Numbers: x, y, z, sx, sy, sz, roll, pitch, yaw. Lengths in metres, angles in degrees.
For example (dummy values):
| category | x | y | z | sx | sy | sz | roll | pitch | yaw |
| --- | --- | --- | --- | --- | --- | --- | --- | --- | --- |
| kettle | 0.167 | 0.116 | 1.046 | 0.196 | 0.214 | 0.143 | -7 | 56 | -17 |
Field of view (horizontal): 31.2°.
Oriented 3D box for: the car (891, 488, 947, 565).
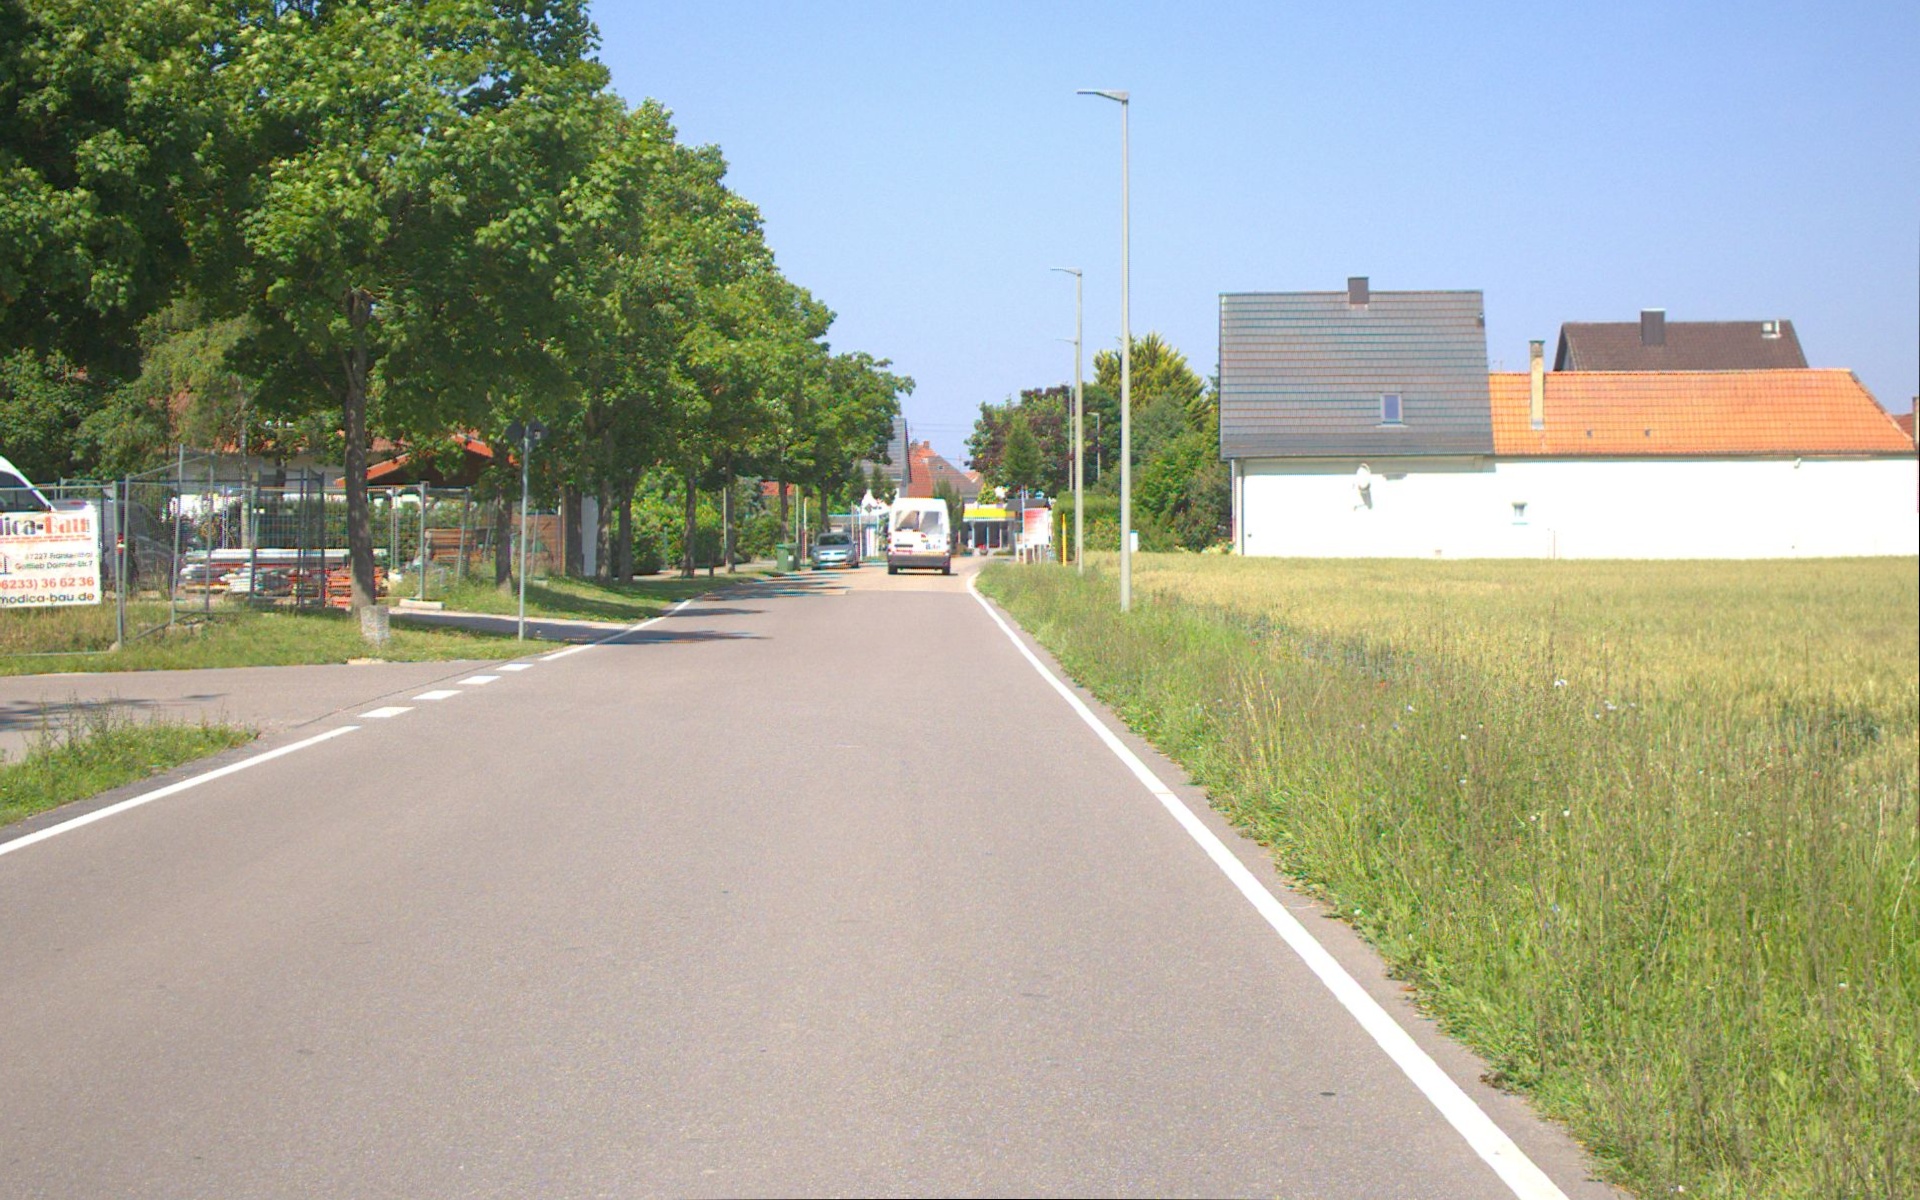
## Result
| category | x | y | z | sx | sy | sz | roll | pitch | yaw |
| --- | --- | --- | --- | --- | --- | --- | --- | --- | --- |
| car | -1.319 | -2.363 | 111.541 | 1.737 | 2.424 | 4.374 | -1 | 1 | 0 |

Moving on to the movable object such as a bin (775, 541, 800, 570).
| category | x | y | z | sx | sy | sz | roll | pitch | yaw |
| --- | --- | --- | --- | --- | --- | --- | --- | --- | --- |
| movable object such as a bin | -6.532 | -1.672 | 129.980 | 0.714 | 1.075 | 0.639 | 0 | 1 | 27 |

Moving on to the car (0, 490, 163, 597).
| category | x | y | z | sx | sy | sz | roll | pitch | yaw |
| --- | --- | --- | --- | --- | --- | --- | --- | --- | --- |
| car | -15.713 | -1.015 | 61.505 | 1.970 | 1.832 | 4.329 | 0 | 1 | -1 |

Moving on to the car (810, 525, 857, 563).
| category | x | y | z | sx | sy | sz | roll | pitch | yaw |
| --- | --- | --- | --- | --- | --- | --- | --- | --- | --- |
| car | -4.971 | -2.209 | 135.476 | 1.647 | 1.419 | 4.080 | -3 | 1 | -1 |

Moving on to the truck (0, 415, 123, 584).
| category | x | y | z | sx | sy | sz | roll | pitch | yaw |
| --- | --- | --- | --- | --- | --- | --- | --- | --- | --- |
| truck | -15.489 | -1.475 | 50.494 | 5.914 | 2.475 | 2.000 | 0 | 1 | -37 |
